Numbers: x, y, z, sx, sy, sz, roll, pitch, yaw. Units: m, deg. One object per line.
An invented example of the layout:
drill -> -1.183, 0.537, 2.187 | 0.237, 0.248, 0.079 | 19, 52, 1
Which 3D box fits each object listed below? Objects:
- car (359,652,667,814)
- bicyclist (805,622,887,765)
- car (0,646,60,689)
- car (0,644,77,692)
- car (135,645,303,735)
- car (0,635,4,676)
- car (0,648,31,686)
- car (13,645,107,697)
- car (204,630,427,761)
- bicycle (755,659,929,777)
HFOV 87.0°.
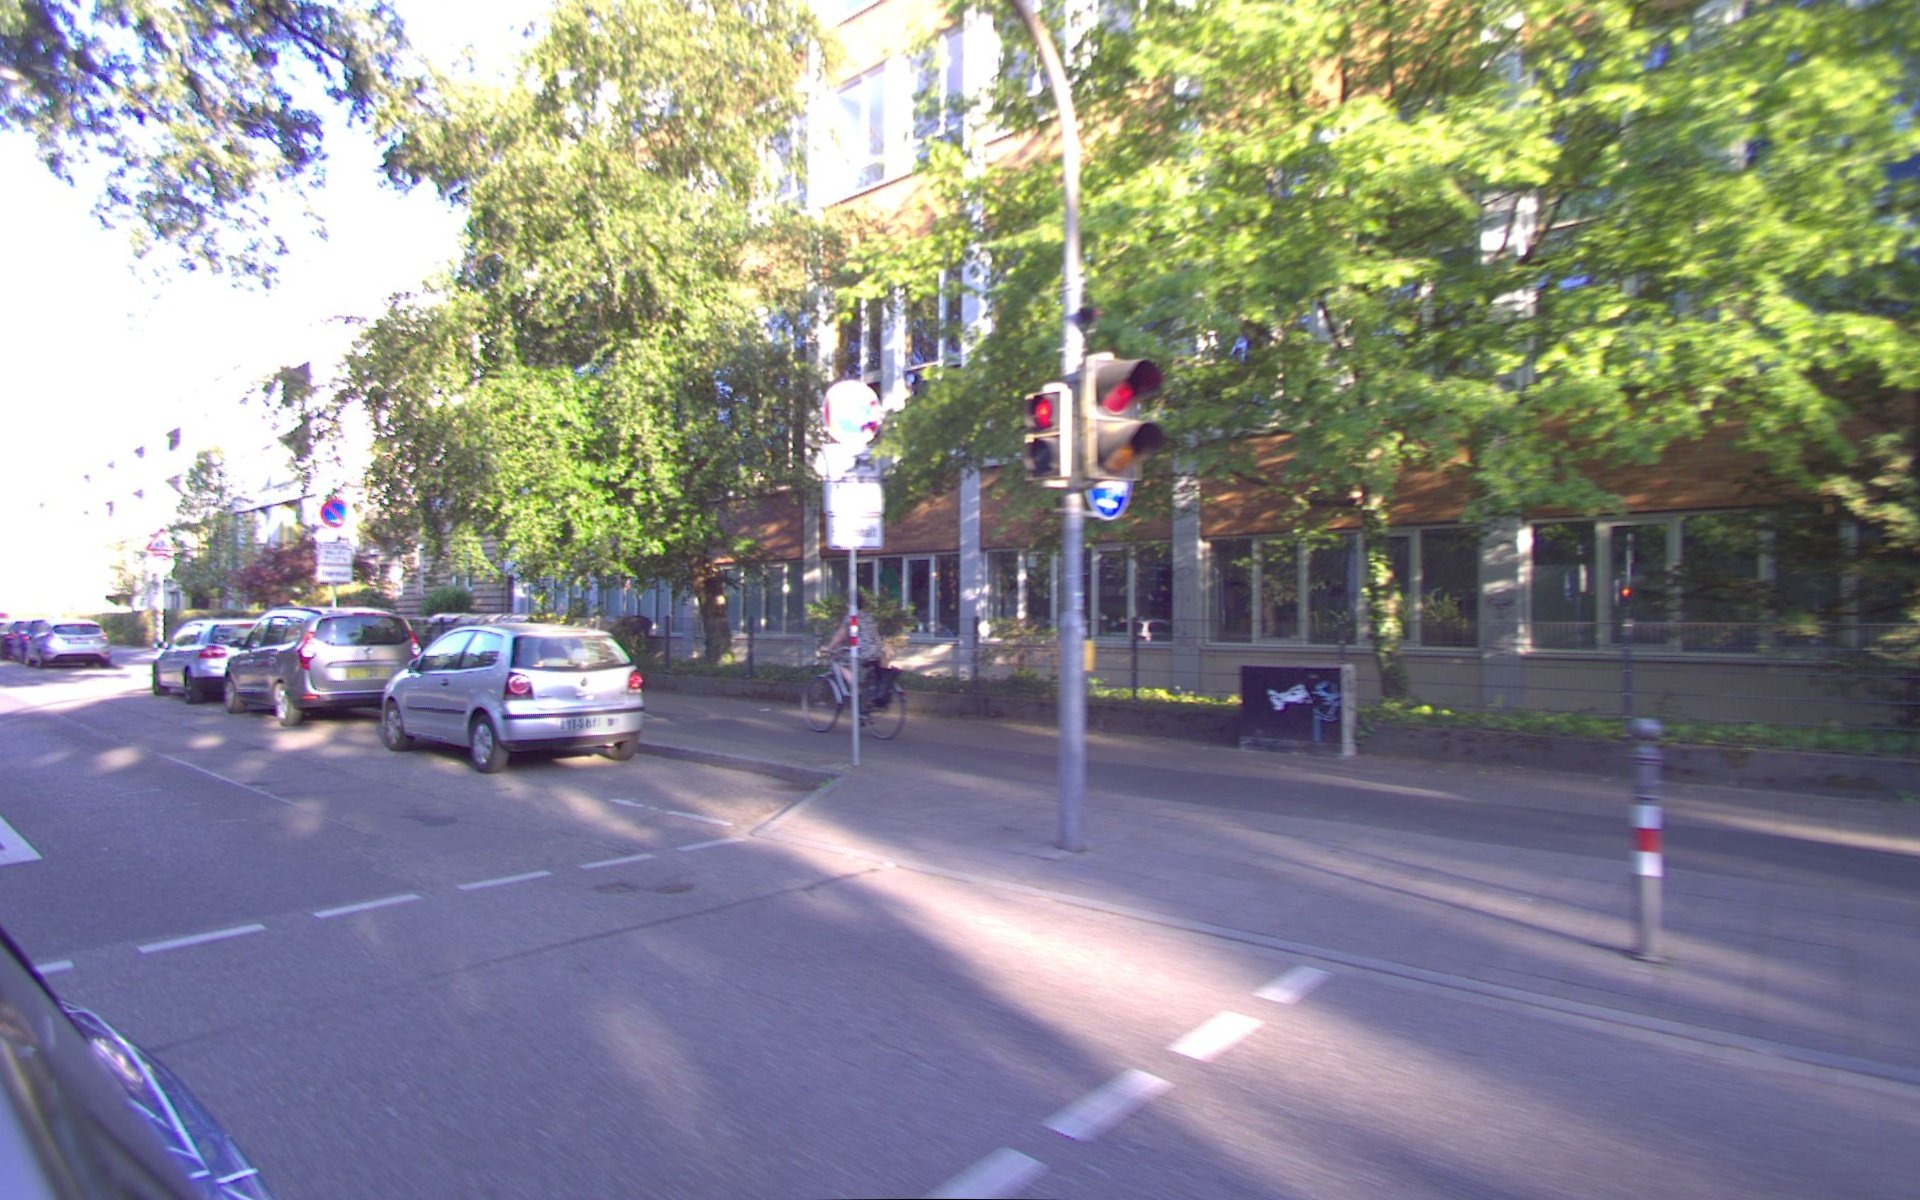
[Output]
car -> -5.048, 1.342, 11.206 | 3.881, 1.468, 1.661 | -3, -5, 42
bicyclist -> -1.342, 1.079, 11.958 | 0.705, 1.615, 0.669 | -2, -3, 37
car -> -34.217, 2.449, 36.819 | 4.051, 1.466, 1.582 | -3, -5, 40
car -> -30.909, 2.272, 33.871 | 3.787, 1.519, 1.581 | -3, -5, 43
car -> -13.952, 1.646, 18.986 | 4.059, 1.505, 1.653 | -3, -5, 41
car -> -46.513, 2.607, 47.560 | 4.234, 1.904, 1.789 | -2, -4, 40
car -> -39.124, 2.694, 41.029 | 3.858, 1.466, 1.582 | -2, -4, 40
car -> -27.482, 2.150, 30.876 | 3.769, 1.505, 1.584 | -3, -5, 40
car -> -9.870, 1.385, 15.367 | 4.338, 1.721, 1.661 | -3, -5, 41
bicycle -> -1.437, 1.348, 12.020 | 2.188, 1.258, 0.680 | -2, -3, 37
